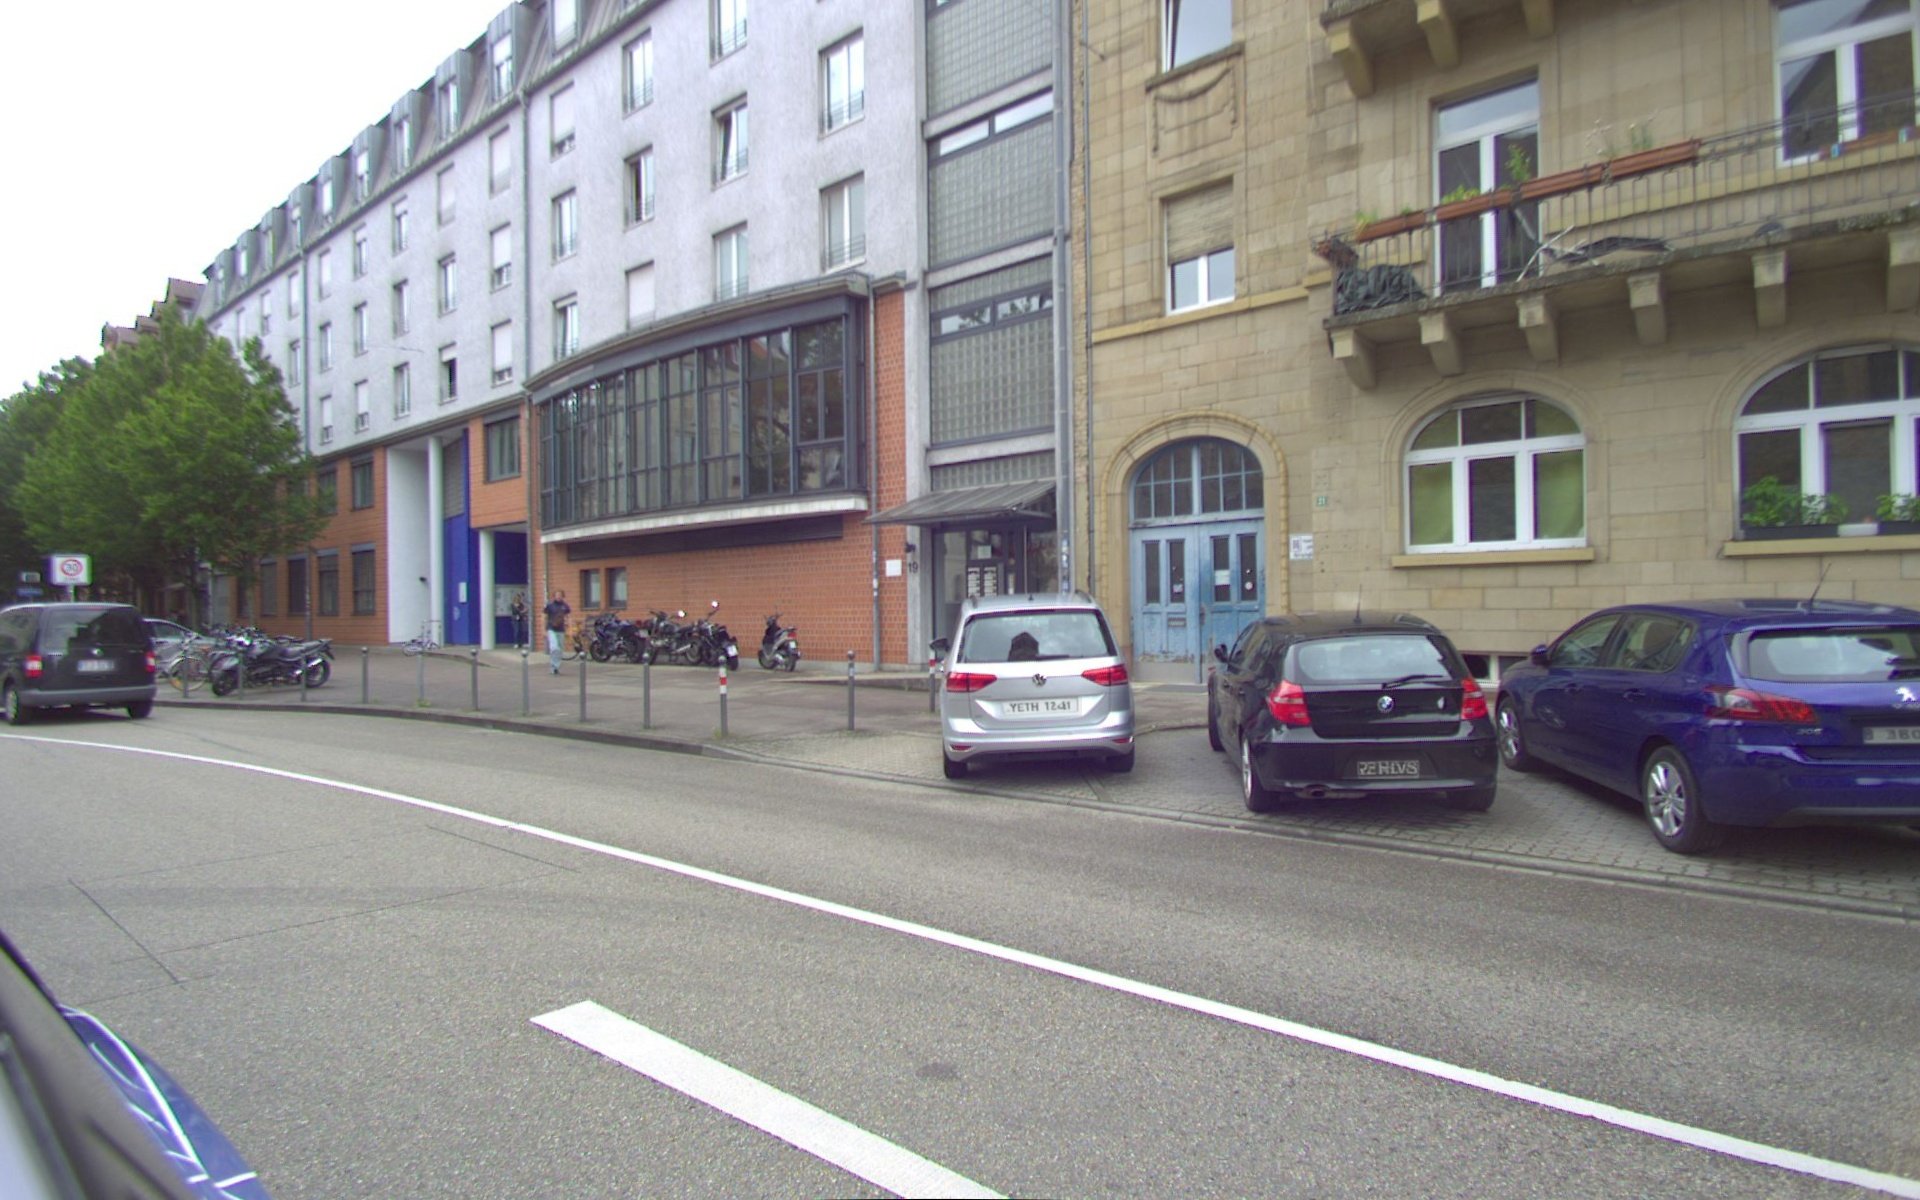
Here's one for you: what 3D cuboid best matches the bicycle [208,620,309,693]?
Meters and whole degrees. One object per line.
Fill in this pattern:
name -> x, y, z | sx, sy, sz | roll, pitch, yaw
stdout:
bicycle -> -14.287, 1.134, 20.636 | 0.416, 1.363, 1.610 | -2, 1, 39

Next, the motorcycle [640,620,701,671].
motorcycle -> -6.472, 0.999, 22.571 | 1.762, 1.106, 0.440 | -2, -1, 42

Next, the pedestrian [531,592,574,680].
pedestrian -> -8.614, 0.752, 21.415 | 0.641, 1.837, 0.613 | -2, -1, 41

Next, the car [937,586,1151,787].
car -> 0.731, 0.692, 10.360 | 1.710, 1.565, 3.999 | -2, 1, 1

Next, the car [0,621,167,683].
car -> -25.955, 1.450, 29.586 | 1.983, 1.641, 3.977 | -1, -1, 18

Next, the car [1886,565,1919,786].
car -> 7.575, 0.546, 5.390 | 1.681, 1.565, 3.997 | -2, 1, 3

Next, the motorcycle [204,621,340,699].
motorcycle -> -13.469, 1.134, 19.861 | 0.599, 1.363, 2.096 | -2, 1, 41

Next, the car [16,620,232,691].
car -> -21.300, 1.359, 25.995 | 1.757, 1.641, 3.977 | -1, -1, 18

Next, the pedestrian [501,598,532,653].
pedestrian -> -13.511, 0.761, 30.838 | 0.622, 1.662, 0.677 | -1, 0, 42

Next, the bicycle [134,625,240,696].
bicycle -> -15.543, 1.194, 20.389 | 0.416, 1.299, 1.610 | -2, 1, 39

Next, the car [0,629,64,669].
car -> -37.727, 1.908, 39.412 | 1.723, 1.508, 3.977 | -1, -1, 18

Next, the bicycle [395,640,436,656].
bicycle -> -16.672, 1.475, 30.974 | 0.527, 0.440, 0.997 | 1, 0, 42

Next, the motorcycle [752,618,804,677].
motorcycle -> -3.601, 0.910, 19.940 | 0.438, 1.106, 1.768 | 0, -1, -29

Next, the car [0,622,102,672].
car -> -32.658, 1.619, 35.146 | 1.983, 1.641, 3.977 | -1, -1, 18

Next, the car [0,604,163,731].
car -> -14.742, 1.019, 16.330 | 4.116, 1.817, 1.680 | -1, -2, 32

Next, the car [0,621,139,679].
car -> -28.175, 1.490, 31.246 | 1.983, 1.641, 3.977 | -1, -1, 18

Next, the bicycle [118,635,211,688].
bicycle -> -18.337, 1.396, 23.362 | 0.416, 1.082, 1.610 | -2, 1, 39

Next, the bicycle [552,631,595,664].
bicycle -> -9.823, 1.199, 25.709 | 1.581, 0.793, 0.332 | -2, -1, 42

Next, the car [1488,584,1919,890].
car -> 5.232, 0.679, 6.909 | 1.804, 1.456, 3.737 | -2, 1, 10

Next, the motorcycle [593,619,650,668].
motorcycle -> -7.997, 1.018, 23.875 | 1.762, 1.106, 0.440 | -2, -1, 42

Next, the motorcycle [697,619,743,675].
motorcycle -> -4.955, 0.947, 20.837 | 0.438, 1.106, 1.768 | 0, -1, -29

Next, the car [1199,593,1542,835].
car -> 3.089, 0.736, 8.491 | 1.713, 1.449, 3.990 | -2, 1, 9

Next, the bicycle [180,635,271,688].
bicycle -> -16.761, 1.379, 23.135 | 0.416, 1.082, 1.610 | -2, 1, 39

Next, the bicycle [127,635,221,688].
bicycle -> -17.937, 1.391, 23.122 | 0.416, 1.082, 1.610 | -2, 1, 39
